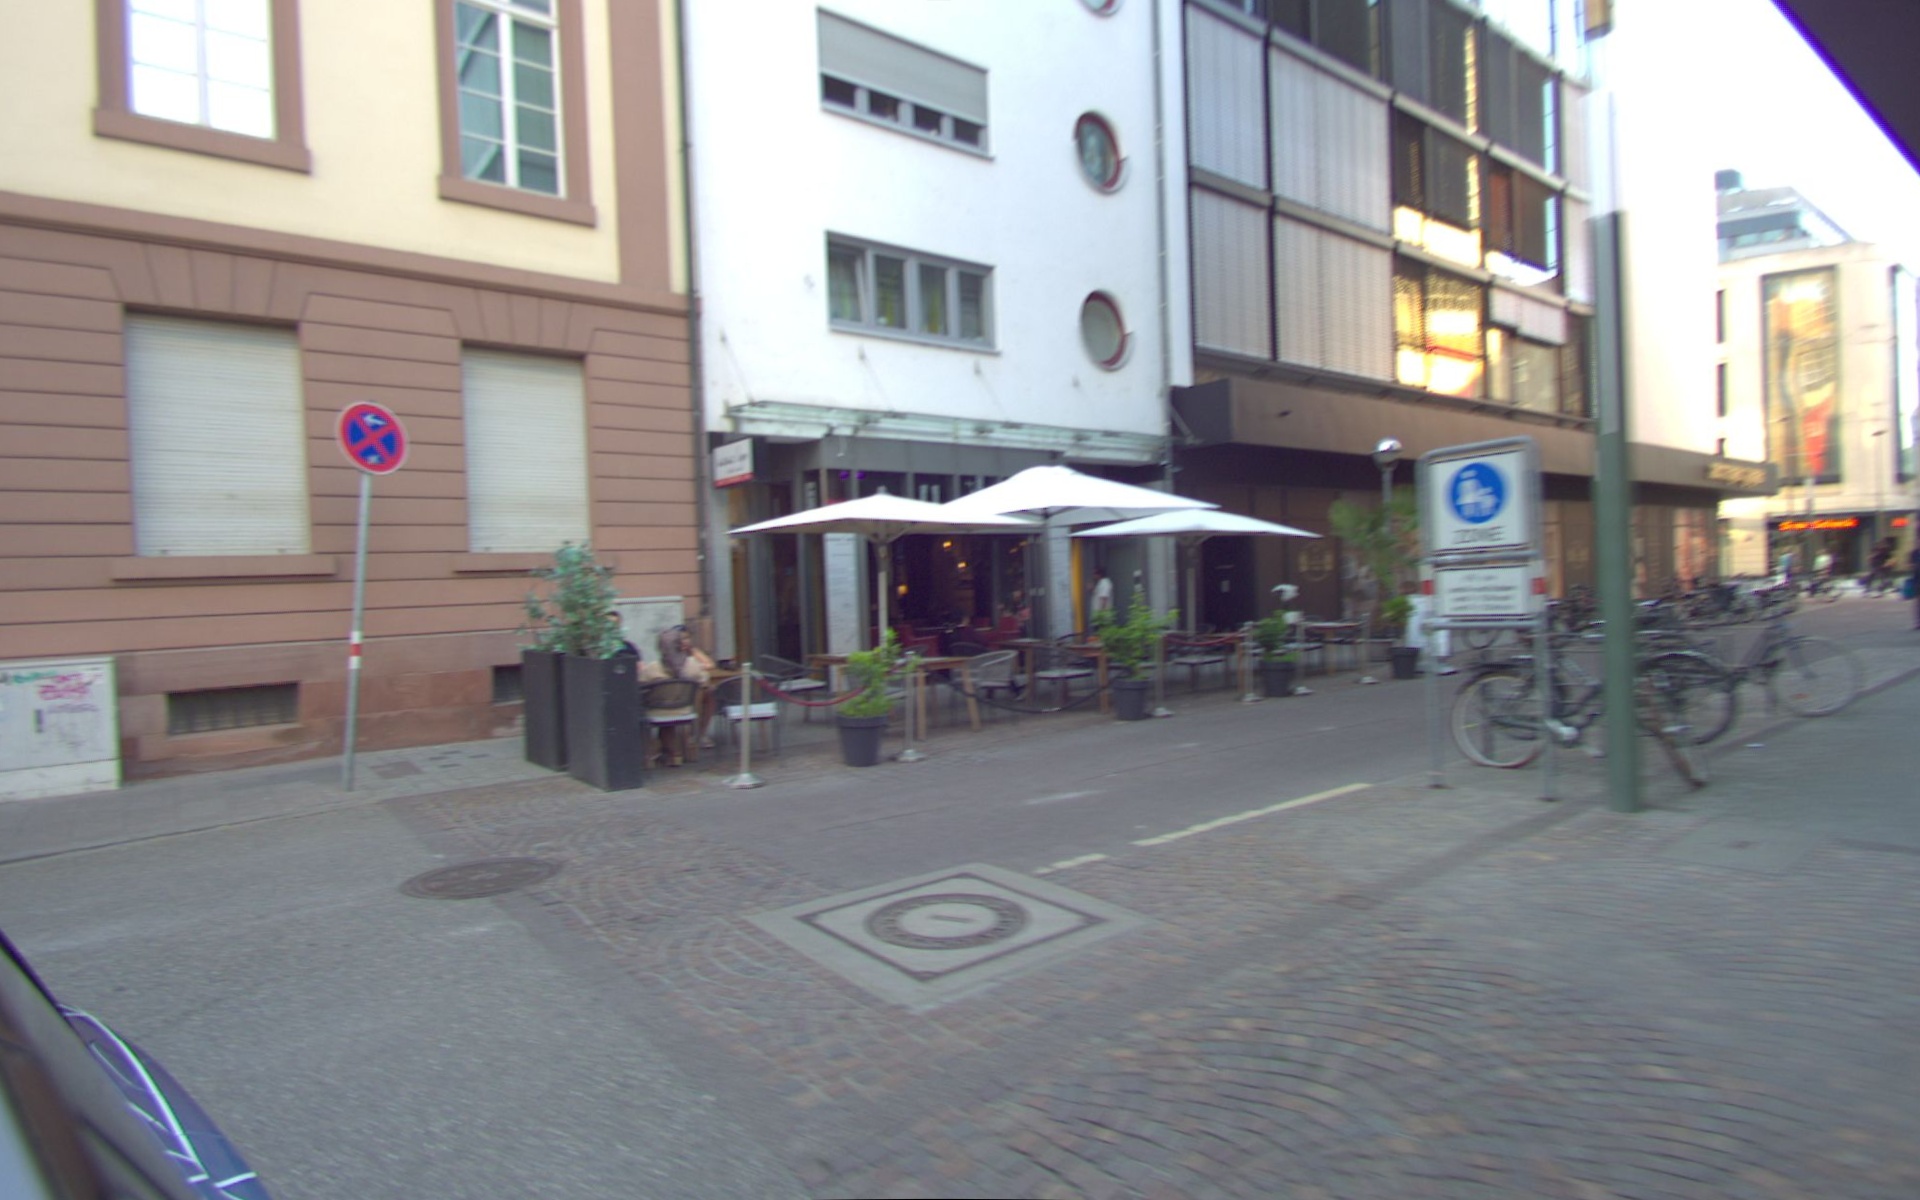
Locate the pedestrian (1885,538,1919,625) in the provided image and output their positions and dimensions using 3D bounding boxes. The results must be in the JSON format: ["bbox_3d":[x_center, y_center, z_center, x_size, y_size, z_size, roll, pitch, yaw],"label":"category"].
[{"bbox_3d":[18.708,-0.367,19.649,0.915,1.673,0.904,-3,1,-37],"label":"pedestrian"}]

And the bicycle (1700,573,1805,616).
[{"bbox_3d":[20.249,-0.164,25.892,0.459,1.057,2.058,-3,3,-38],"label":"bicycle"}]

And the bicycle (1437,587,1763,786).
[{"bbox_3d":[4.157,0.545,6.713,0.459,1.145,1.706,-3,-1,-38],"label":"bicycle"}]

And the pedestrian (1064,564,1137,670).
[{"bbox_3d":[2.301,0.277,16.562,0.857,1.671,0.790,-2,0,35],"label":"pedestrian"}]

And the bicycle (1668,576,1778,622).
[{"bbox_3d":[18.253,-0.043,24.261,0.459,1.057,2.058,-3,3,-38],"label":"bicycle"}]

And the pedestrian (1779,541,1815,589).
[{"bbox_3d":[34.189,-1.422,41.338,0.822,1.873,0.909,-3,1,-38],"label":"pedestrian"}]

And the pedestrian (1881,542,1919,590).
[{"bbox_3d":[33.583,-1.209,36.120,0.781,1.673,0.908,-3,1,-40],"label":"pedestrian"}]

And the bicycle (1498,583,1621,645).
[{"bbox_3d":[11.320,0.237,19.177,0.459,1.082,1.958,-3,3,-38],"label":"bicycle"}]

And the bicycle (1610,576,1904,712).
[{"bbox_3d":[7.332,0.421,9.438,0.459,1.130,2.044,-3,-1,-38],"label":"bicycle"}]

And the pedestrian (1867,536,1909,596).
[{"bbox_3d":[29.794,-1.088,32.500,0.893,1.873,0.837,-3,1,-39],"label":"pedestrian"}]

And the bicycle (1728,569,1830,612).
[{"bbox_3d":[21.867,-0.277,27.050,0.459,1.103,2.058,-3,3,-38],"label":"bicycle"}]

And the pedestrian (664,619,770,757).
[{"bbox_3d":[-2.305,0.801,9.583,0.663,1.192,0.794,-3,2,-40],"label":"pedestrian"}]

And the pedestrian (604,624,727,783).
[{"bbox_3d":[-2.447,0.818,8.408,0.663,1.192,0.793,-3,2,-43],"label":"pedestrian"}]

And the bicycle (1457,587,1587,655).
[{"bbox_3d":[9.822,0.339,17.764,0.459,1.082,1.958,-3,3,-38],"label":"bicycle"}]

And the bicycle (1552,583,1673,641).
[{"bbox_3d":[12.871,0.211,20.022,0.459,1.082,1.958,-3,3,-38],"label":"bicycle"}]

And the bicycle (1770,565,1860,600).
[{"bbox_3d":[26.314,-0.557,31.168,0.459,1.020,2.058,-3,3,-38],"label":"bicycle"}]

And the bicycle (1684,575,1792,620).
[{"bbox_3d":[19.232,-0.083,25.063,0.459,1.057,2.058,-3,3,-38],"label":"bicycle"}]

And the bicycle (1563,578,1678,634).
[{"bbox_3d":[13.700,0.100,21.043,0.459,1.082,1.958,-3,3,-38],"label":"bicycle"}]

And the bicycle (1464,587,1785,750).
[{"bbox_3d":[5.155,0.529,8.007,0.459,1.130,2.020,-3,-1,-38],"label":"bicycle"}]

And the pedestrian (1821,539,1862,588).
[{"bbox_3d":[35.331,-1.467,40.566,0.892,1.873,1.030,-3,1,-38],"label":"pedestrian"}]

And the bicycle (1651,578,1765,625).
[{"bbox_3d":[17.172,0.014,23.280,0.459,1.024,2.058,-3,3,-38],"label":"bicycle"}]

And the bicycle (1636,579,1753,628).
[{"bbox_3d":[16.280,0.050,22.495,0.459,1.024,2.058,-3,3,-38],"label":"bicycle"}]

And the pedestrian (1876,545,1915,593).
[{"bbox_3d":[34.058,-1.132,36.842,0.781,1.673,0.908,-3,1,-40],"label":"pedestrian"}]

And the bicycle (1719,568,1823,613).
[{"bbox_3d":[21.204,-0.267,26.495,0.459,1.103,2.058,-3,3,-38],"label":"bicycle"}]

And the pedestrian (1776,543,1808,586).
[{"bbox_3d":[37.999,-1.615,46.235,0.822,1.873,0.909,-3,1,-38],"label":"pedestrian"}]

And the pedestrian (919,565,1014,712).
[{"bbox_3d":[0.075,0.441,12.063,0.714,1.661,0.793,-3,1,-43],"label":"pedestrian"}]

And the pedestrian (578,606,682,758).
[{"bbox_3d":[-3.154,0.743,9.664,0.663,1.341,0.794,-3,2,-40],"label":"pedestrian"}]
